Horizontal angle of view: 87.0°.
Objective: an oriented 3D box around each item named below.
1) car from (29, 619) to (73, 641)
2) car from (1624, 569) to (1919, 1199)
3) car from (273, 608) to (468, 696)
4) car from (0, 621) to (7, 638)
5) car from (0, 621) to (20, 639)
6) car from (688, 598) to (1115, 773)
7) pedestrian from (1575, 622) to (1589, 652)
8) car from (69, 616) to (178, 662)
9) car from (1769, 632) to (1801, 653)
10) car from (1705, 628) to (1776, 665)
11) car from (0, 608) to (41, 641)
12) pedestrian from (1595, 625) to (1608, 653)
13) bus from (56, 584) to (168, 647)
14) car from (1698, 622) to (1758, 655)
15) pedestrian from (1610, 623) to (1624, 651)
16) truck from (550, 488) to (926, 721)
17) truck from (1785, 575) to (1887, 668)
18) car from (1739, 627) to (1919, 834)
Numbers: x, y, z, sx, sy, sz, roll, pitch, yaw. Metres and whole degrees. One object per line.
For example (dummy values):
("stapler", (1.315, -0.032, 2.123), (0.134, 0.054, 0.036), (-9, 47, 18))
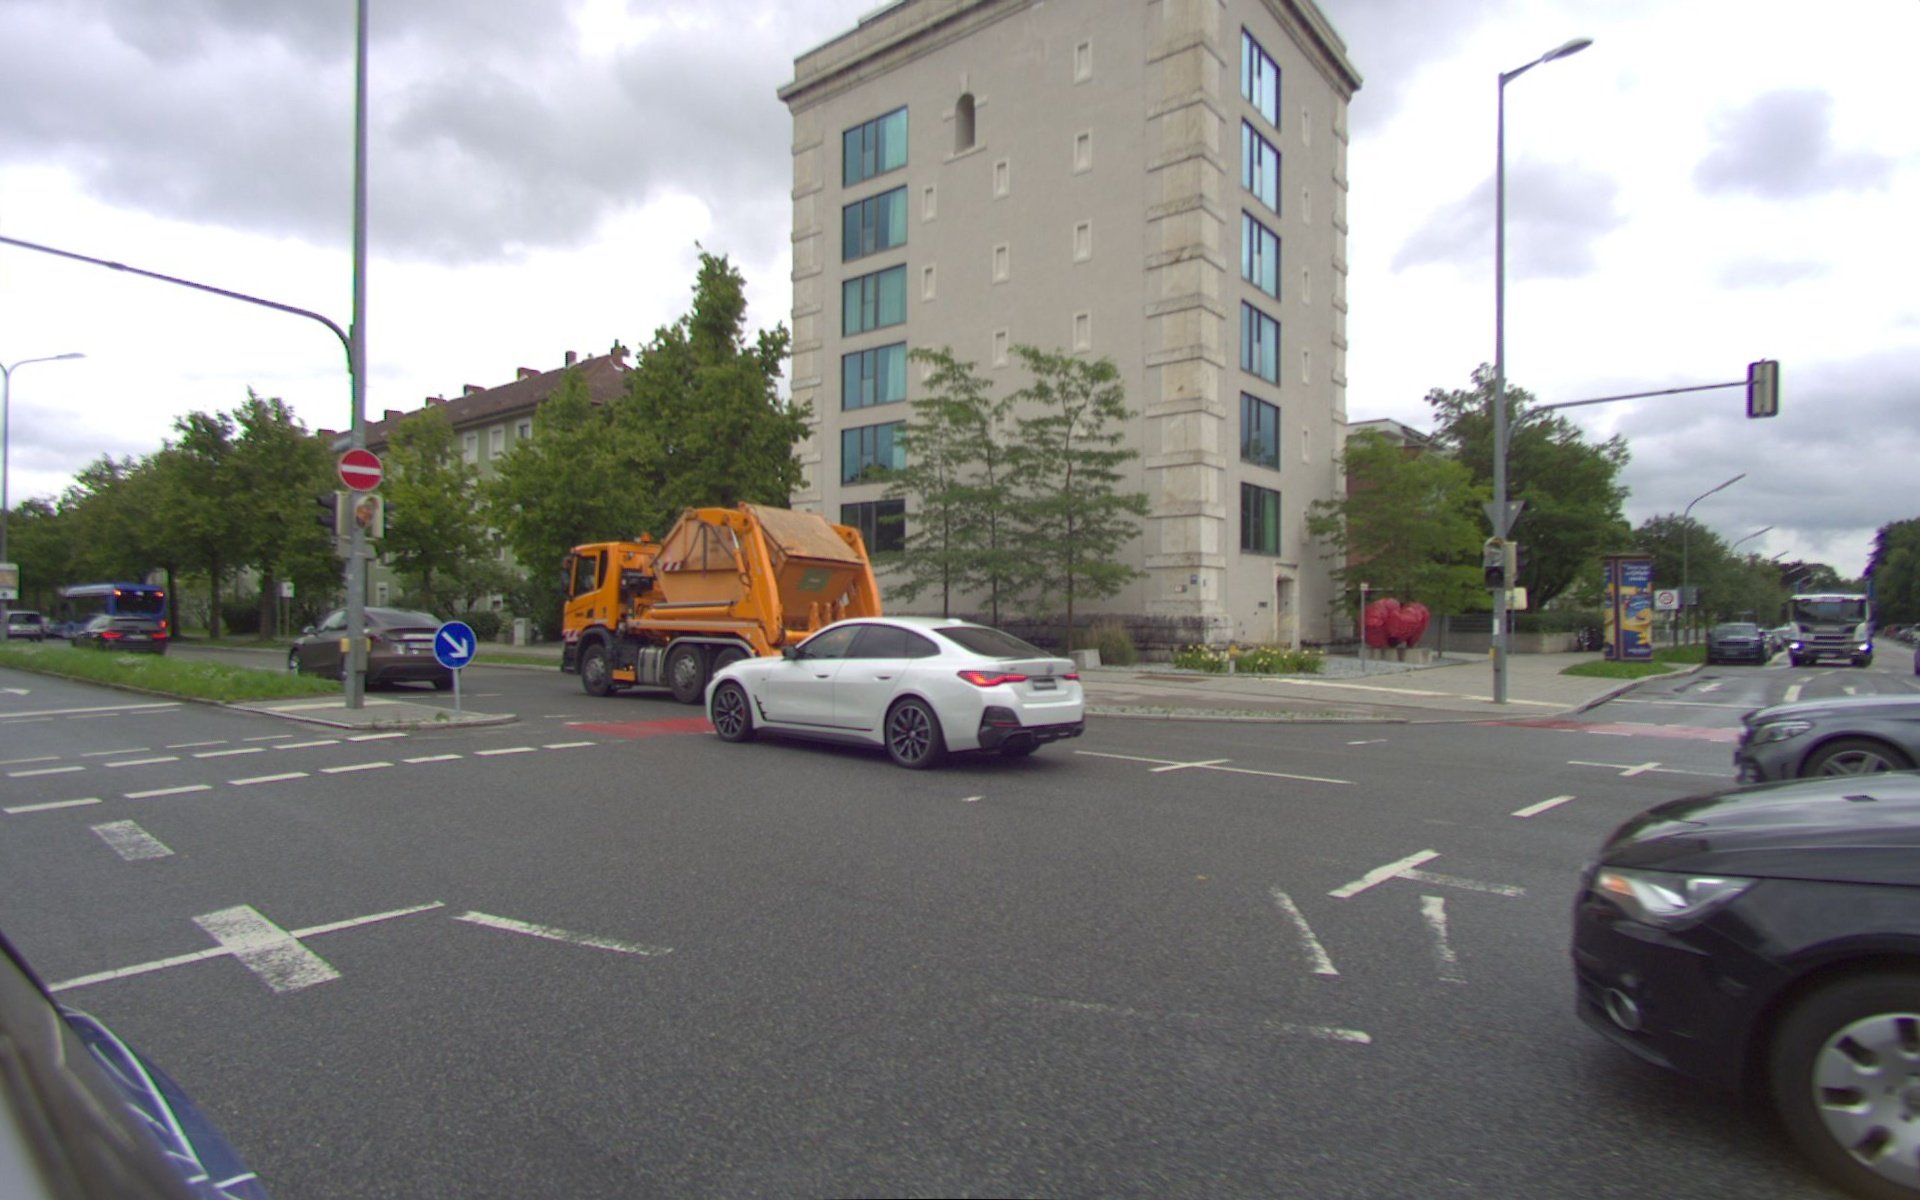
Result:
("car", (-64.422, 2.136, 71.711), (3.907, 1.473, 1.833), (-1, 0, 40))
("car", (3.724, 0.673, 2.113), (3.777, 1.498, 1.623), (-1, -1, 39))
("car", (-11.814, 1.010, 20.140), (4.747, 1.553, 1.843), (-1, -5, 41))
("car", (-85.126, 2.611, 88.786), (3.907, 1.473, 1.833), (-1, 0, 40))
("car", (-80.703, 2.528, 85.239), (3.907, 1.473, 1.833), (-1, 0, 40))
("car", (-0.817, 0.770, 10.893), (4.739, 1.498, 1.710), (-1, -1, 40))
("pedestrian", (30.893, 1.836, 50.230), (0.545, 1.425, 0.595), (0, -1, 36))
("car", (-28.368, 1.305, 34.272), (4.894, 1.473, 1.907), (-1, -3, 40))
("car", (67.021, 3.416, 82.166), (1.925, 1.603, 4.159), (-1, -1, 40))
("car", (32.995, 1.911, 42.750), (1.927, 1.427, 4.155), (-1, -1, 43))
("car", (-56.538, 1.472, 60.352), (4.425, 1.825, 1.762), (-1, -4, 38))
("pedestrian", (32.985, 2.005, 52.043), (0.543, 1.425, 0.597), (-1, -1, 30))
("bus", (-49.620, 0.956, 59.056), (12.036, 3.369, 2.718), (-1, -3, 39))
("car", (39.126, 1.941, 51.524), (2.001, 1.586, 3.942), (-1, -1, 44))
("pedestrian", (33.744, 1.895, 51.959), (0.543, 1.425, 0.597), (-1, -1, 30))
("truck", (-4.200, 0.124, 18.106), (7.261, 3.382, 2.752), (-1, -1, 40))
("truck", (36.434, 0.865, 41.996), (2.773, 3.515, 7.711), (-1, -1, 44))
("car", (8.074, 0.934, 6.953), (4.214, 1.427, 1.705), (-1, -3, 41))
